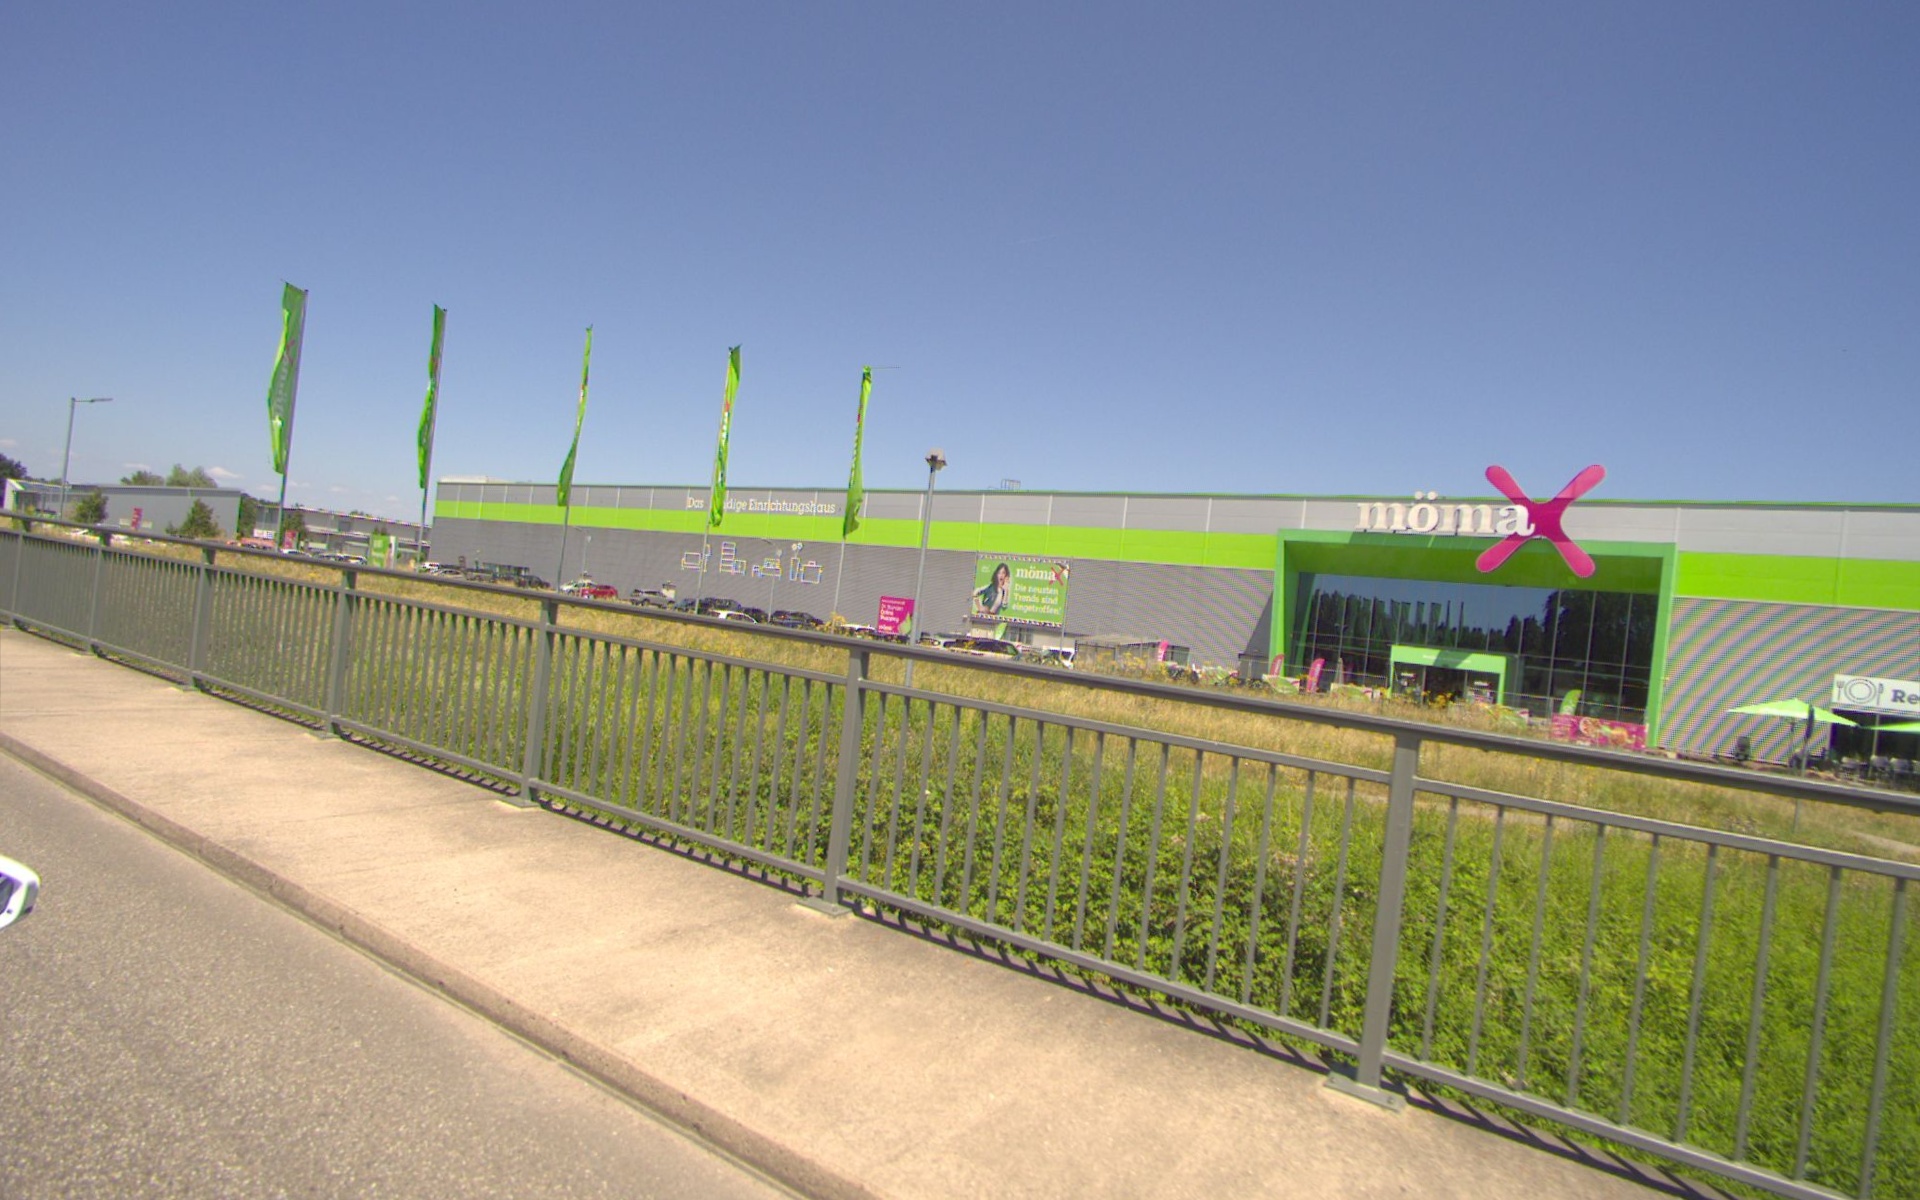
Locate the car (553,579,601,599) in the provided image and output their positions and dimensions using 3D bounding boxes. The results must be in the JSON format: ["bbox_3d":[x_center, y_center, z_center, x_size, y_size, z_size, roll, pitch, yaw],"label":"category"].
[{"bbox_3d":[-37.918,-1.057,99.641,1.968,1.492,3.991,4,-2,33],"label":"car"}]

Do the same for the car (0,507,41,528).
[{"bbox_3d":[-84.777,-7.468,89.814,1.914,1.460,3.735,6,-2,39],"label":"car"}]

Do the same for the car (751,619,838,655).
[{"bbox_3d":[-8.240,1.868,50.362,1.919,1.479,3.984,5,-1,39],"label":"car"}]

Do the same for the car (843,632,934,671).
[{"bbox_3d":[-3.271,2.407,46.600,1.888,1.479,3.984,5,-1,39],"label":"car"}]

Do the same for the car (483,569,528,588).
[{"bbox_3d":[-49.890,-2.346,110.421,1.968,1.537,3.991,4,-2,33],"label":"car"}]

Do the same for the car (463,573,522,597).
[{"bbox_3d":[-39.129,-1.214,84.229,1.969,1.537,3.990,4,-2,34],"label":"car"}]

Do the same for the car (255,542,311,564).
[{"bbox_3d":[-64.465,-4.455,95.845,1.970,1.537,3.986,4,-2,37],"label":"car"}]

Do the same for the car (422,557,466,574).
[{"bbox_3d":[-60.406,-4.035,117.807,1.968,1.537,3.991,4,-2,33],"label":"car"}]

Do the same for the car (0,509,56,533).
[{"bbox_3d":[-79.887,-6.785,85.887,1.914,1.460,3.735,6,-2,39],"label":"car"}]

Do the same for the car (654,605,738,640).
[{"bbox_3d":[-14.430,1.253,55.089,1.919,1.549,3.984,5,-1,39],"label":"car"}]

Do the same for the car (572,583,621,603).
[{"bbox_3d":[-35.360,-0.688,97.925,1.968,1.537,3.991,4,-2,33],"label":"car"}]

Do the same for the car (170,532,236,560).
[{"bbox_3d":[-59.740,-4.266,79.447,1.863,1.588,3.735,6,-2,39],"label":"car"}]

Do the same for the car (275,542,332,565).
[{"bbox_3d":[-61.133,-4.319,93.708,1.970,1.537,3.986,4,-2,37],"label":"car"}]

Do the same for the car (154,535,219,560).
[{"bbox_3d":[-62.361,-4.227,81.161,1.914,1.460,3.735,6,-2,39],"label":"car"}]

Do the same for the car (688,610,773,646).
[{"bbox_3d":[-12.218,1.522,53.742,1.919,1.549,3.984,5,-1,39],"label":"car"}]

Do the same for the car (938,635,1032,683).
[{"bbox_3d":[1.114,2.523,42.812,1.888,1.717,3.984,5,-1,39],"label":"car"}]

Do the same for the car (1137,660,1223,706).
[{"bbox_3d":[9.372,3.518,42.648,1.888,1.674,3.984,5,-1,39],"label":"car"}]

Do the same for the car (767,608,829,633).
[{"bbox_3d":[-12.426,1.604,77.425,1.969,1.537,4.655,4,-2,34],"label":"car"}]

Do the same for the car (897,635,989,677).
[{"bbox_3d":[-0.706,2.525,44.788,1.888,1.566,3.984,5,-1,39],"label":"car"}]

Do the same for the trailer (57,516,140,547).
[{"bbox_3d":[-59.367,-4.713,69.400,1.737,1.414,3.988,6,-2,37],"label":"trailer"}]

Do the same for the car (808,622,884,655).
[{"bbox_3d":[-6.427,2.189,57.048,1.919,1.523,3.984,5,-1,39],"label":"car"}]

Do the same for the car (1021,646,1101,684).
[{"bbox_3d":[4.947,3.166,48.811,1.919,1.523,3.984,5,-1,39],"label":"car"}]

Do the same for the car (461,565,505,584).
[{"bbox_3d":[-53.169,-2.841,112.175,1.968,1.537,3.991,4,-2,33],"label":"car"}]

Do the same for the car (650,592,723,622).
[{"bbox_3d":[-18.471,0.474,68.053,1.971,1.537,4.405,4,-2,38],"label":"car"}]

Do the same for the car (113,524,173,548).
[{"bbox_3d":[-72.970,-5.694,89.894,1.914,1.460,3.735,6,-2,39],"label":"car"}]

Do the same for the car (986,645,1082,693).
[{"bbox_3d":[3.090,2.858,41.223,1.888,1.674,3.984,5,-1,39],"label":"car"}]

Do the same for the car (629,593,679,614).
[{"bbox_3d":[-27.867,0.317,91.653,1.968,1.537,3.991,4,-2,33],"label":"car"}]

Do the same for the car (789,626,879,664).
[{"bbox_3d":[-6.022,2.171,48.274,1.919,1.479,3.984,5,-1,39],"label":"car"}]
